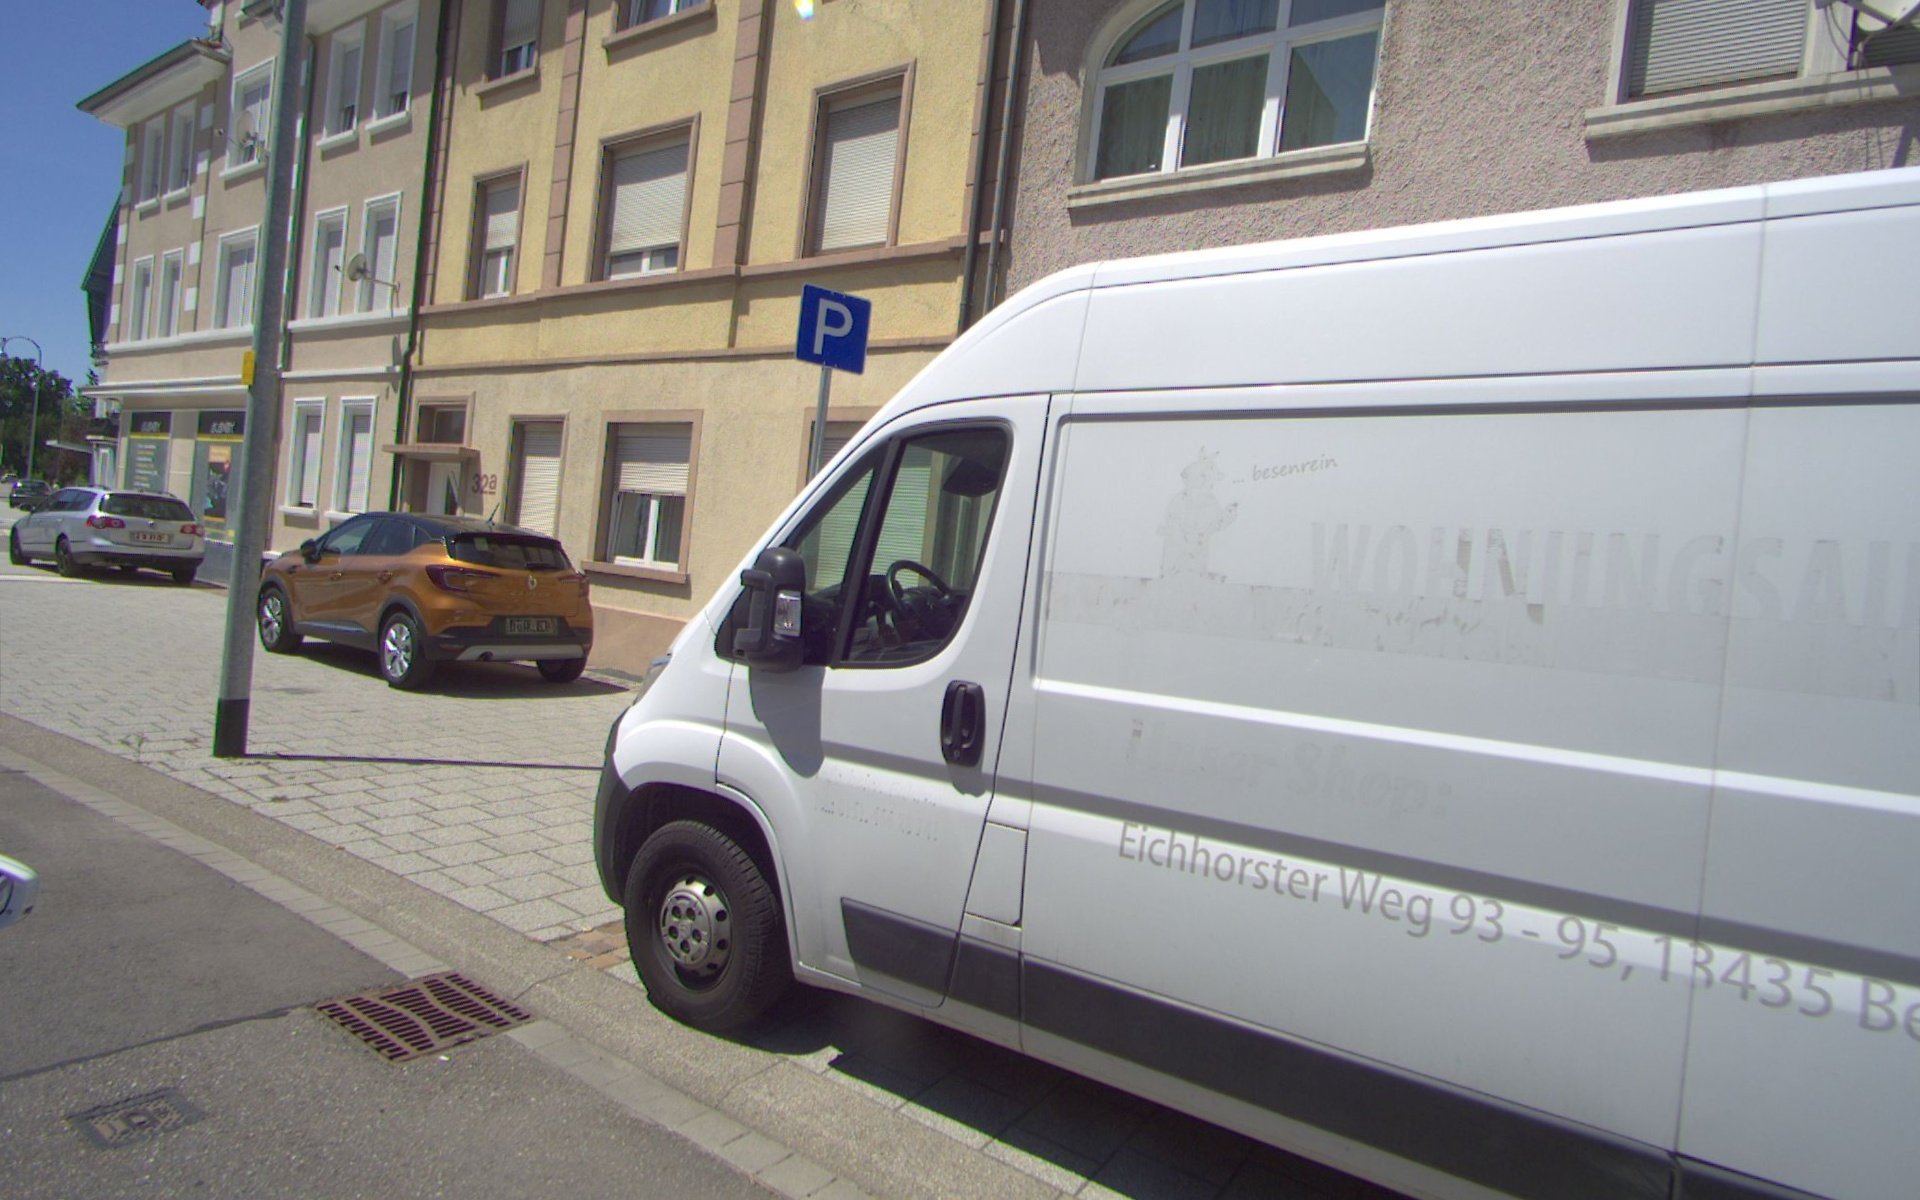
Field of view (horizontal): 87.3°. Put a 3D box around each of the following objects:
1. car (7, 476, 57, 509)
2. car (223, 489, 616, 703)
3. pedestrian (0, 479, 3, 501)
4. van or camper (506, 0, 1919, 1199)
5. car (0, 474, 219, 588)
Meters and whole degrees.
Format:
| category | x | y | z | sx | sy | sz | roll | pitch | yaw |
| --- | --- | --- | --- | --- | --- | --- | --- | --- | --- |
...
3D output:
| category | x | y | z | sx | sy | sz | roll | pitch | yaw |
| --- | --- | --- | --- | --- | --- | --- | --- | --- | --- |
| car | -48.772 | -5.657 | 52.915 | 1.630 | 1.528 | 3.524 | 2 | 4 | -39 |
| car | -5.643 | -0.142 | 10.309 | 4.293 | 1.642 | 1.672 | 7 | 3 | 34 |
| pedestrian | -57.149 | -6.550 | 59.513 | 0.661 | 1.304 | 0.582 | 2 | 4 | -32 |
| van or camper | 1.473 | 0.298 | 2.890 | 5.671 | 2.623 | 2.165 | 7 | 2 | 32 |
| car | -14.969 | -1.233 | 17.551 | 4.614 | 1.550 | 1.764 | 7 | 2 | 33 |
